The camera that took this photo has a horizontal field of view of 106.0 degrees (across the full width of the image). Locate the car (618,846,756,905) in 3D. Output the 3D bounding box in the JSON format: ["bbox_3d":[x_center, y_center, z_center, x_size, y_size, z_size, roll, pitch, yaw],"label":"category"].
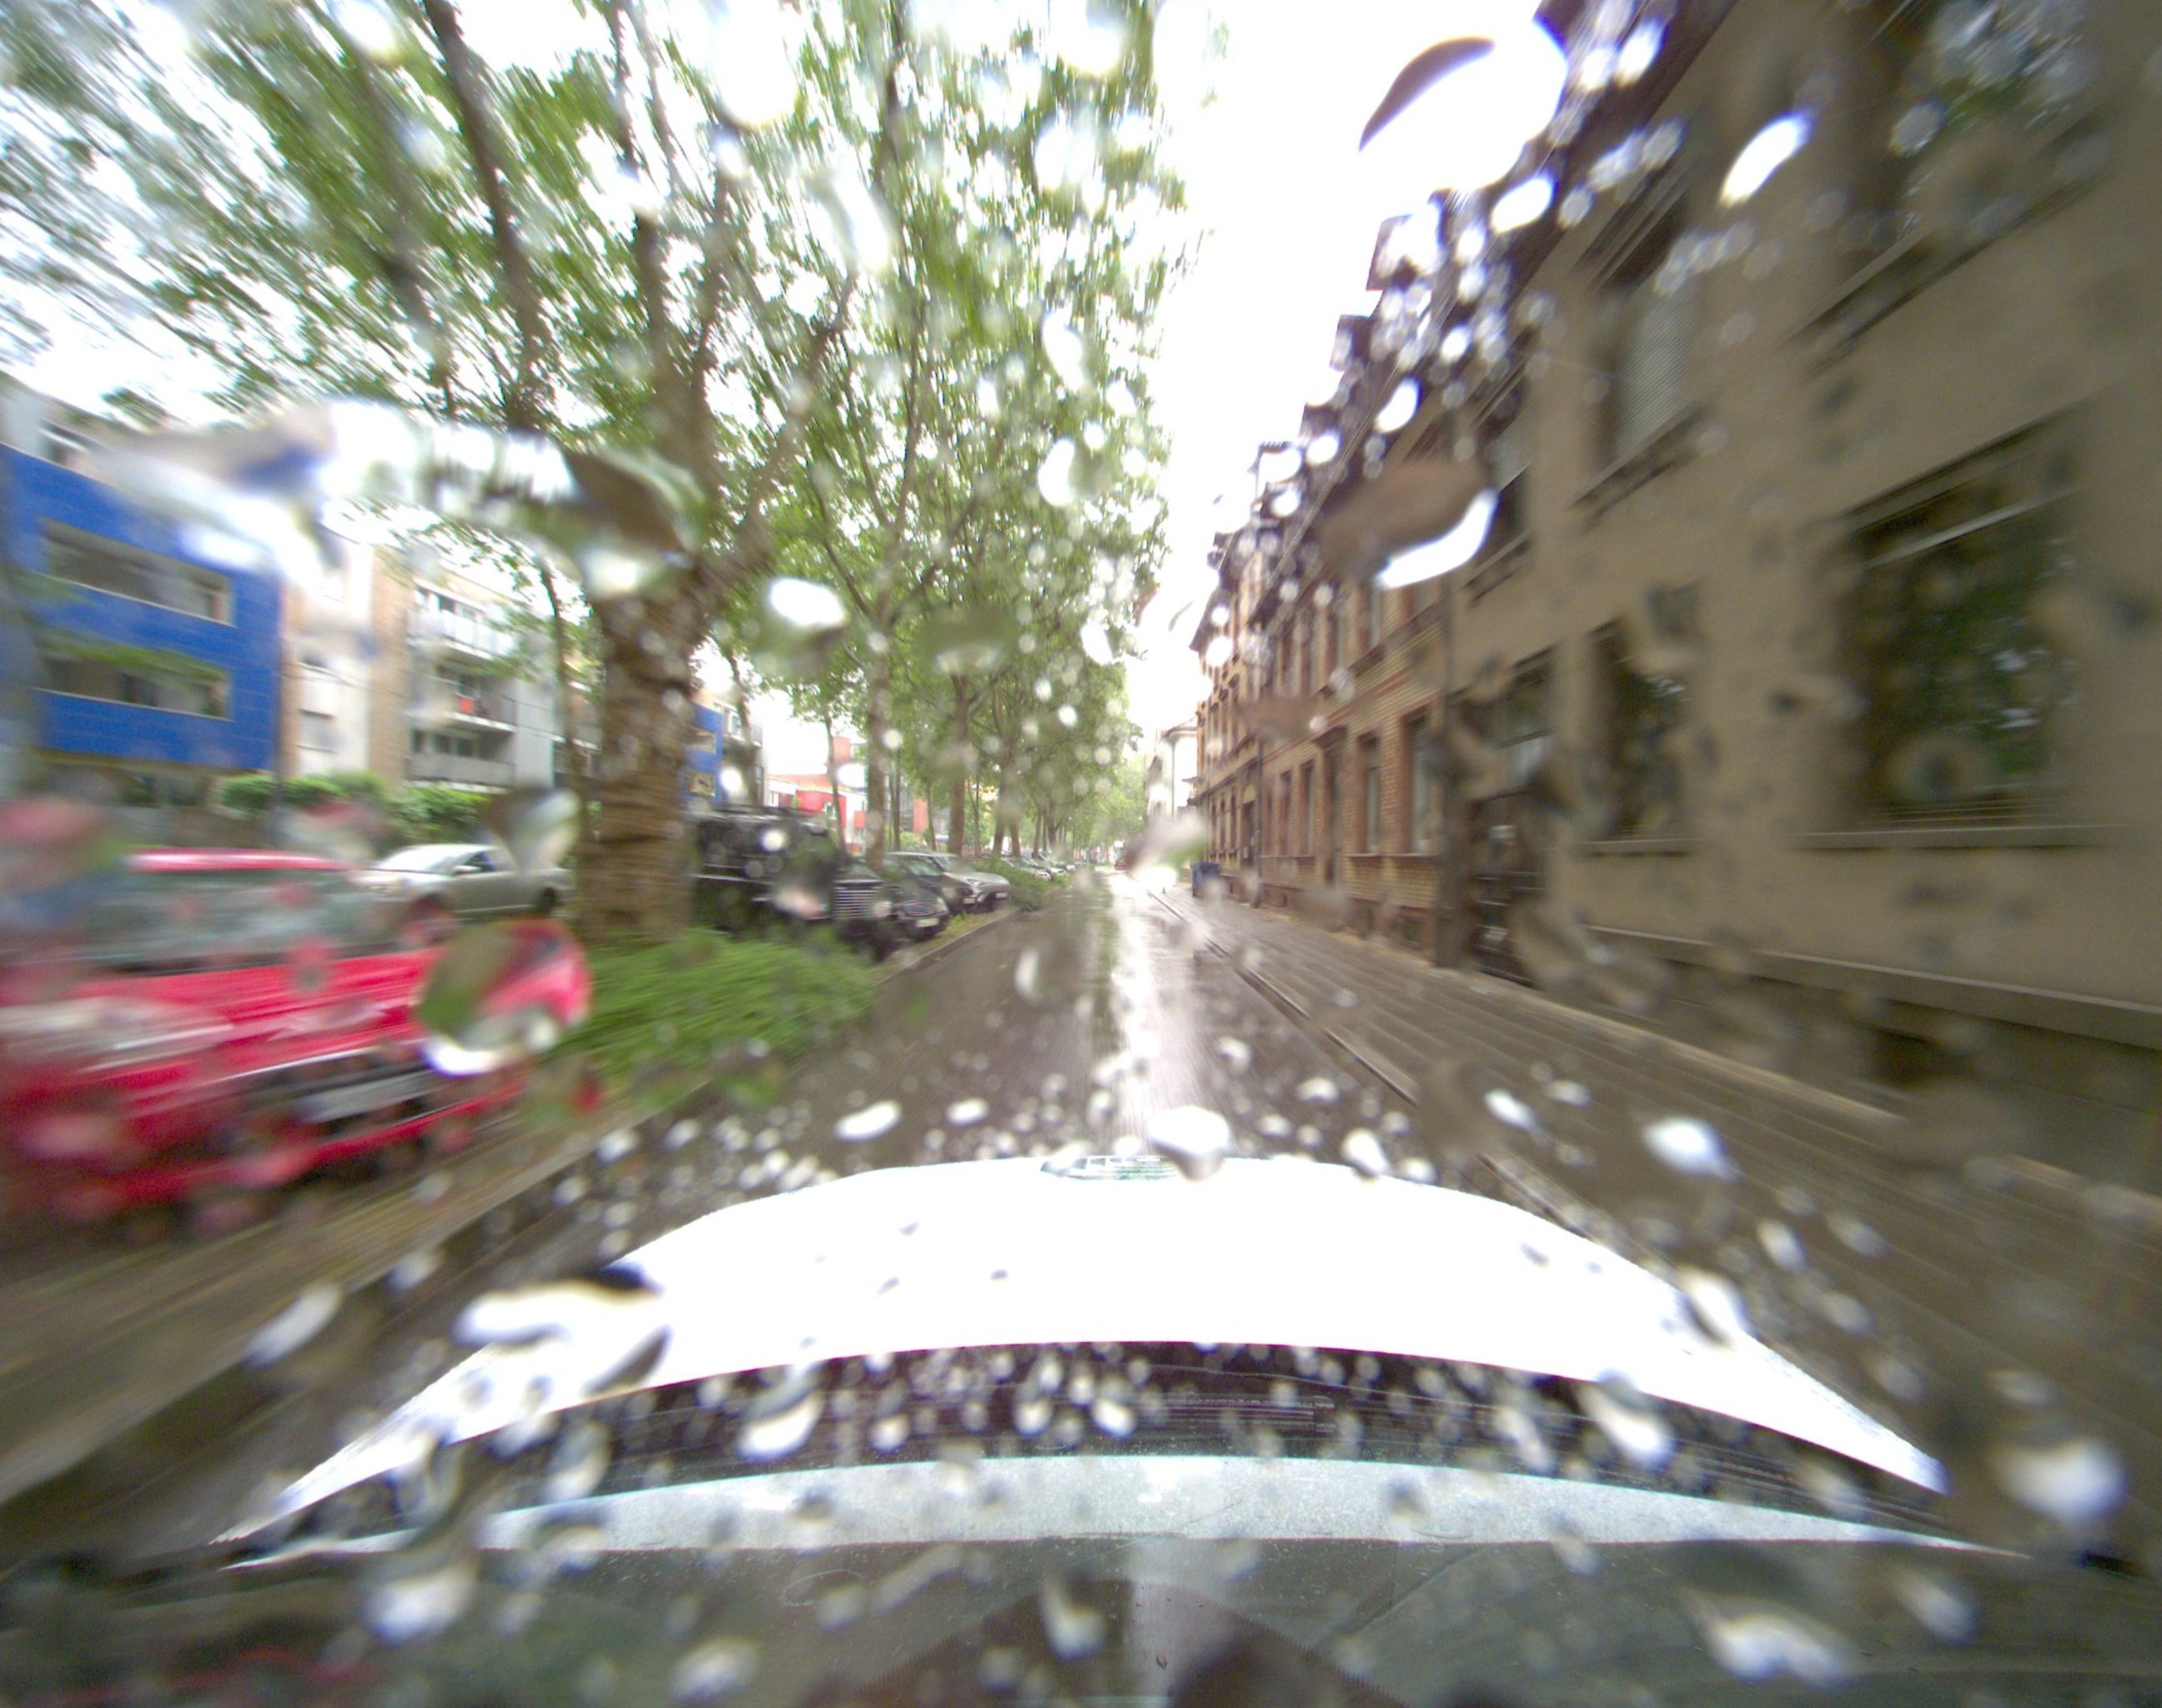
[{"bbox_3d":[-11.207,0.560,23.547,1.898,1.534,4.216,1,0,0],"label":"car"}]

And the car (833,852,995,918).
[{"bbox_3d":[-4.010,0.706,19.578,3.469,1.467,1.651,0,0,23],"label":"car"}]

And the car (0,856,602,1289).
[{"bbox_3d":[-4.466,0.736,4.323,3.459,1.436,1.792,0,0,29],"label":"car"}]

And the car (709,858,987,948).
[{"bbox_3d":[-4.048,0.736,13.955,4.601,1.326,1.858,0,0,29],"label":"car"}]

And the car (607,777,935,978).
[{"bbox_3d":[-4.424,0.276,11.363,4.600,2.283,2.024,0,0,35],"label":"car"}]

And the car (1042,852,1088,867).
[{"bbox_3d":[-1.707,0.564,85.199,4.416,1.597,1.935,0,0,28],"label":"car"}]

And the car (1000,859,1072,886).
[{"bbox_3d":[-2.733,1.078,49.551,4.019,1.499,1.757,1,0,25],"label":"car"}]

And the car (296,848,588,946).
[{"bbox_3d":[-11.489,0.688,15.149,1.898,1.534,4.421,1,0,0],"label":"car"}]

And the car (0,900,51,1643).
[{"bbox_3d":[-4.271,0.827,1.724,3.996,1.435,1.792,0,0,26],"label":"car"}]

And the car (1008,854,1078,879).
[{"bbox_3d":[-2.495,0.789,52.973,4.262,1.437,1.758,1,1,28],"label":"car"}]

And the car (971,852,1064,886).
[{"bbox_3d":[-3.265,0.714,41.563,4.362,1.660,1.942,0,0,29],"label":"car"}]

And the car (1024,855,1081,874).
[{"bbox_3d":[-2.385,0.879,68.052,4.502,1.482,1.786,-1,-1,32],"label":"car"}]

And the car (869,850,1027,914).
[{"bbox_3d":[-3.677,0.709,22.281,4.013,1.537,1.847,1,0,32],"label":"car"}]

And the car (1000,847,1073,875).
[{"bbox_3d":[-3.272,0.551,59.831,5.065,1.977,2.116,-1,-1,32],"label":"car"}]

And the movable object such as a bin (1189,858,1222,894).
[{"bbox_3d":[4.802,0.829,31.500,1.017,1.301,1.367,-3,0,1],"label":"movable object such as a bin"}]

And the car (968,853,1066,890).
[{"bbox_3d":[-3.070,0.835,38.746,4.361,1.645,1.884,-2,-1,33],"label":"car"}]

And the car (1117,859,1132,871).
[{"bbox_3d":[5.936,1.505,111.362,1.986,1.640,4.001,1,-1,1],"label":"car"}]
